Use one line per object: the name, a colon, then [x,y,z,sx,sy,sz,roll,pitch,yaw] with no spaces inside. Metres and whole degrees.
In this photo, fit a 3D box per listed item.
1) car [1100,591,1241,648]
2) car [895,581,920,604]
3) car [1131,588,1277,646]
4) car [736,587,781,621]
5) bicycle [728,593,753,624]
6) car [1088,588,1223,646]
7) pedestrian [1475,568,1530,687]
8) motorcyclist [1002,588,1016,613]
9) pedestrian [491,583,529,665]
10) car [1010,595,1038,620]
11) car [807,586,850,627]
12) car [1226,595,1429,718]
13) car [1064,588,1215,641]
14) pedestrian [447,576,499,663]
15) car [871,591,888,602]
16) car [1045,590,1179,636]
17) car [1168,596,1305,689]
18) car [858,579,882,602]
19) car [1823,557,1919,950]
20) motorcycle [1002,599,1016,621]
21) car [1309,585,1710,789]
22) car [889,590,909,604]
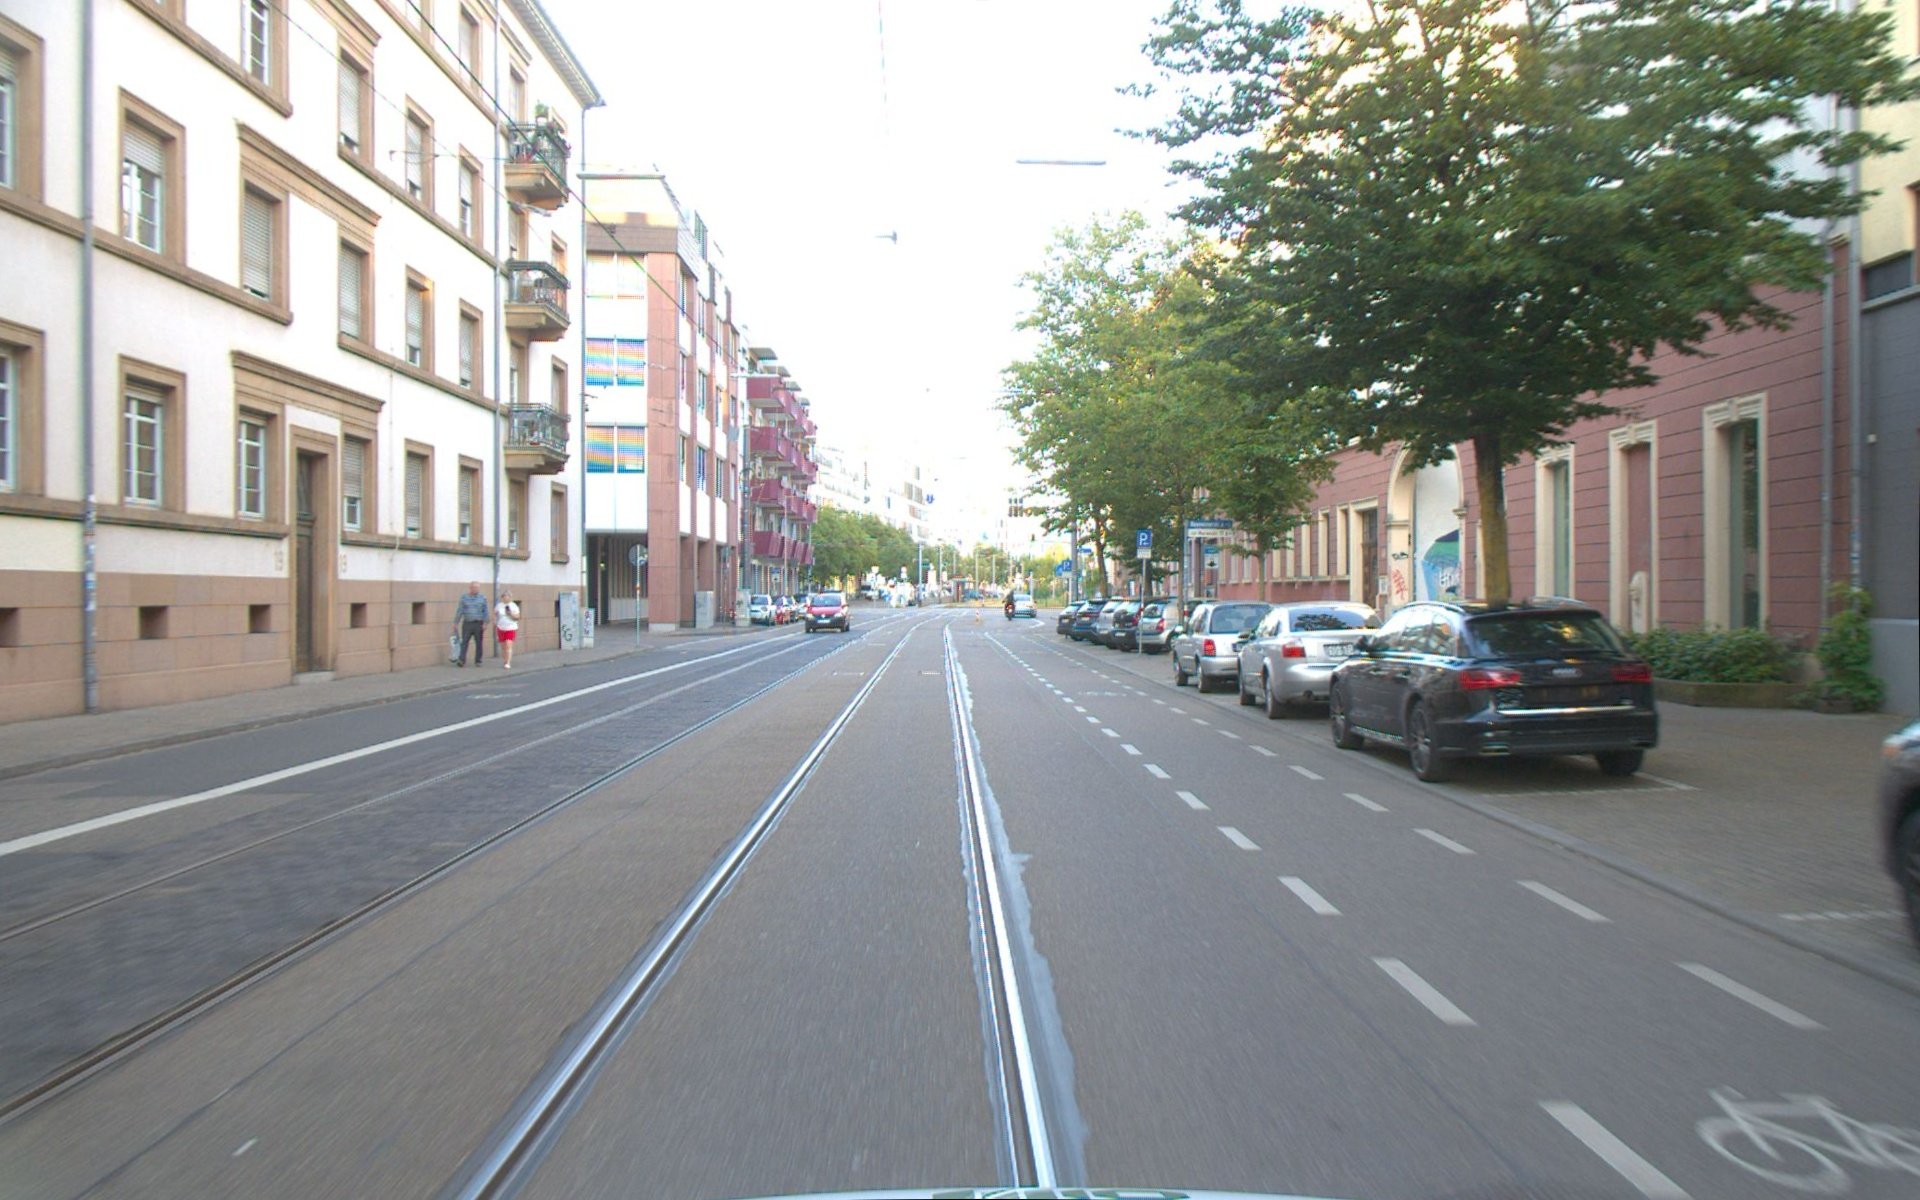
car: [5.757,0.507,45.276,3.512,1.454,1.655,-1,0,-26]
car: [-6.044,-0.872,190.547,2.409,2.526,5.810,0,0,3]
car: [6.353,0.440,43.150,3.431,1.454,1.611,-1,-1,-20]
car: [-9.937,0.187,81.742,1.682,1.583,4.203,1,0,0]
bicycle: [-10.239,0.386,77.101,0.595,1.402,2.260,0,0,7]
car: [5.666,0.476,47.919,3.512,1.543,1.729,-1,0,-26]
pedestrian: [8.501,0.430,25.924,0.666,1.848,0.600,0,0,0]
motorcyclist: [2.892,0.033,97.944,0.811,1.499,1.207,0,0,2]
pedestrian: [-9.113,0.471,33.526,0.579,1.638,0.811,0,0,-3]
car: [4.240,0.497,110.114,1.681,1.583,4.204,1,0,1]
car: [-5.359,0.233,67.602,1.528,1.585,3.753,-1,0,-2]
car: [4.769,0.670,22.110,1.743,1.405,4.692,-2,0,1]
car: [5.761,0.437,53.109,4.386,1.543,2.048,-1,0,-24]
pedestrian: [-9.852,0.392,33.485,0.779,1.731,0.981,0,0,-3]
car: [-11.439,-0.515,235.951,1.647,1.528,4.242,0,0,7]
car: [5.455,0.444,59.203,4.547,1.482,1.697,-2,1,-26]
car: [4.571,0.659,27.787,1.586,1.405,3.775,-2,0,-1]
car: [-12.335,-1.290,226.688,2.154,3.207,6.147,0,0,7]
car: [4.951,0.616,5.475,1.841,1.646,4.261,-3,0,-1]
motorcycle: [2.885,0.562,97.782,0.811,1.261,2.492,0,0,2]
car: [4.726,0.654,15.137,1.953,1.515,5.035,-1,0,0]
car: [-6.762,-0.331,184.526,1.647,1.464,4.129,0,0,6]
